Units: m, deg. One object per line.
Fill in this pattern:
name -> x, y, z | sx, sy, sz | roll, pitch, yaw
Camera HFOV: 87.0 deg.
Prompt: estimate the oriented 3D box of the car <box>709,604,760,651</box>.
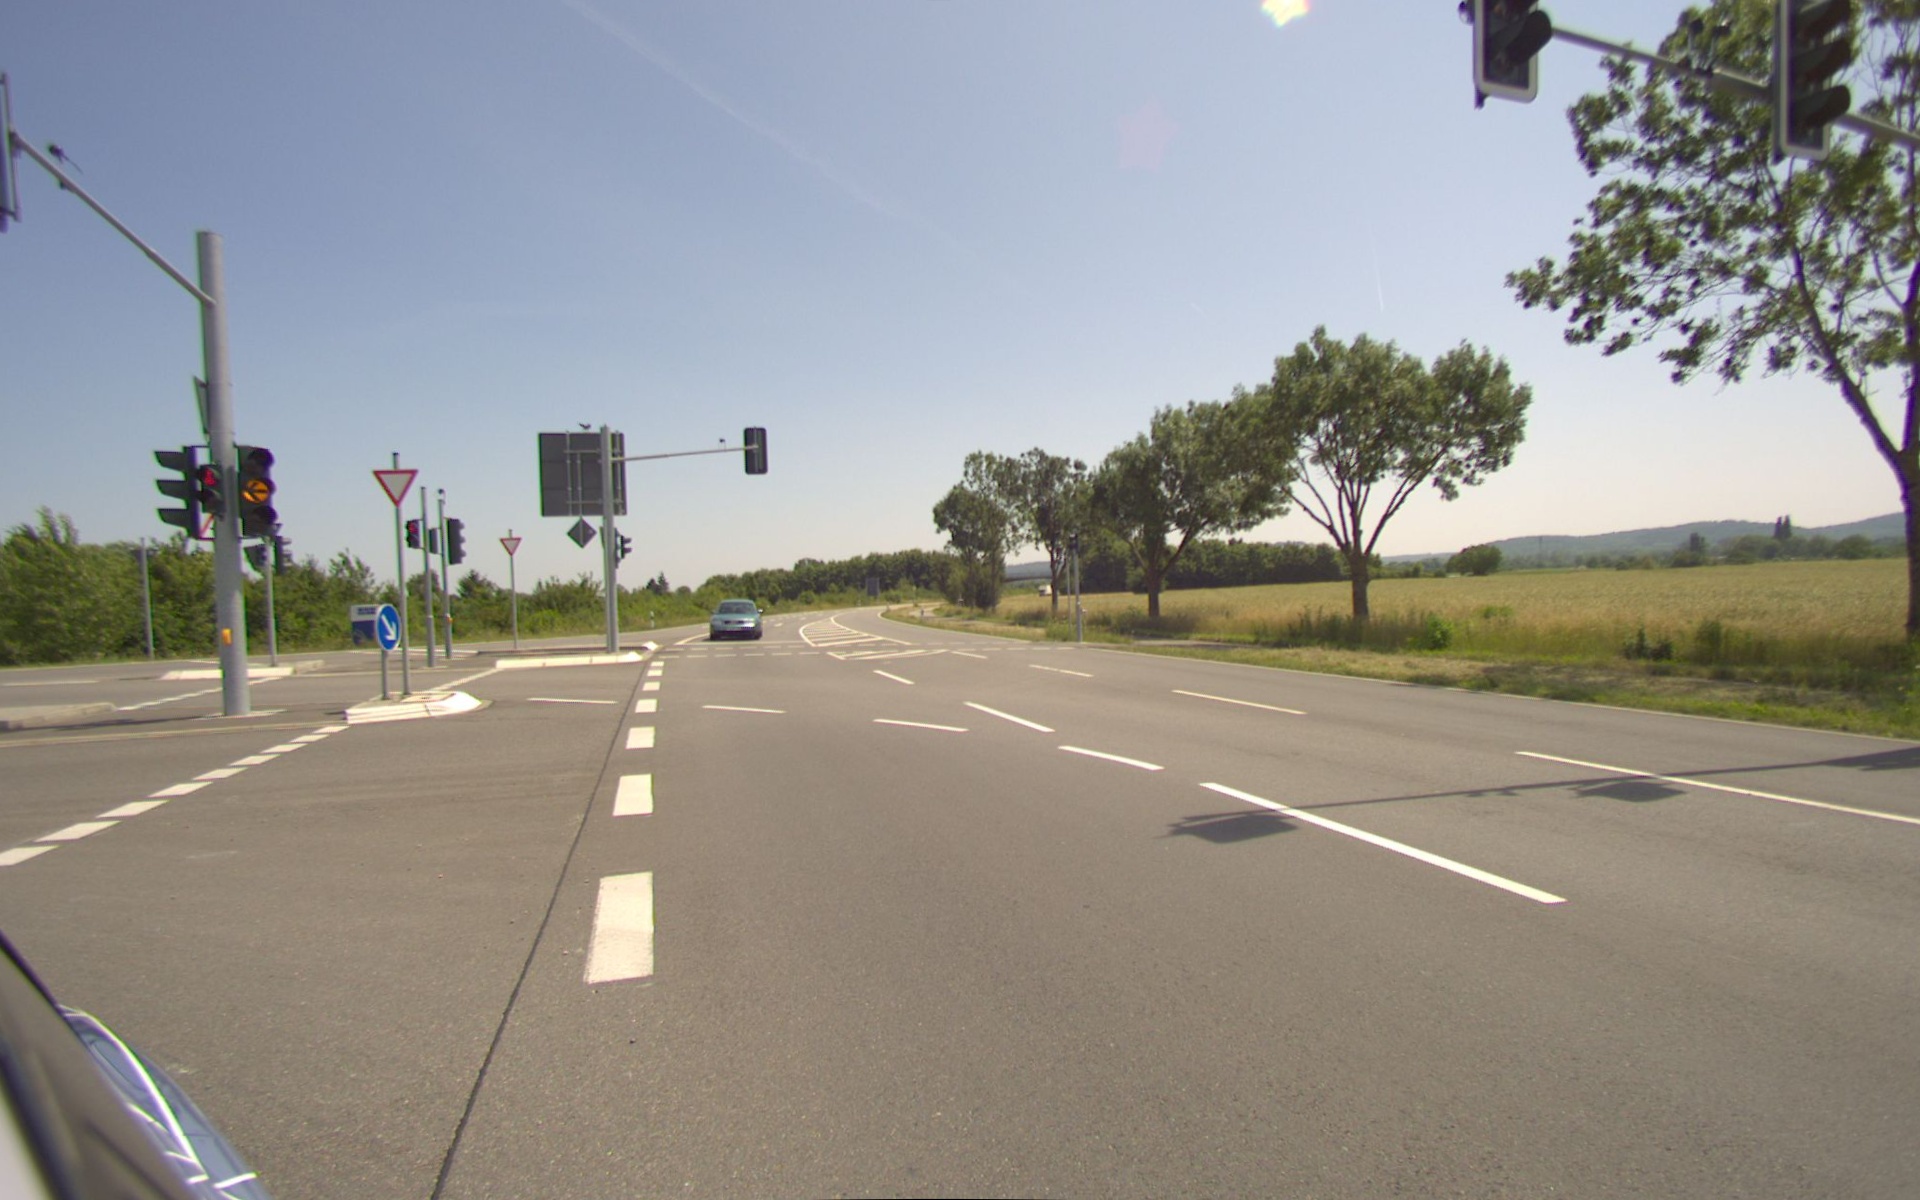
car -> -8.117, 0.952, 36.687 | 1.631, 1.578, 4.008 | -1, 0, -10
